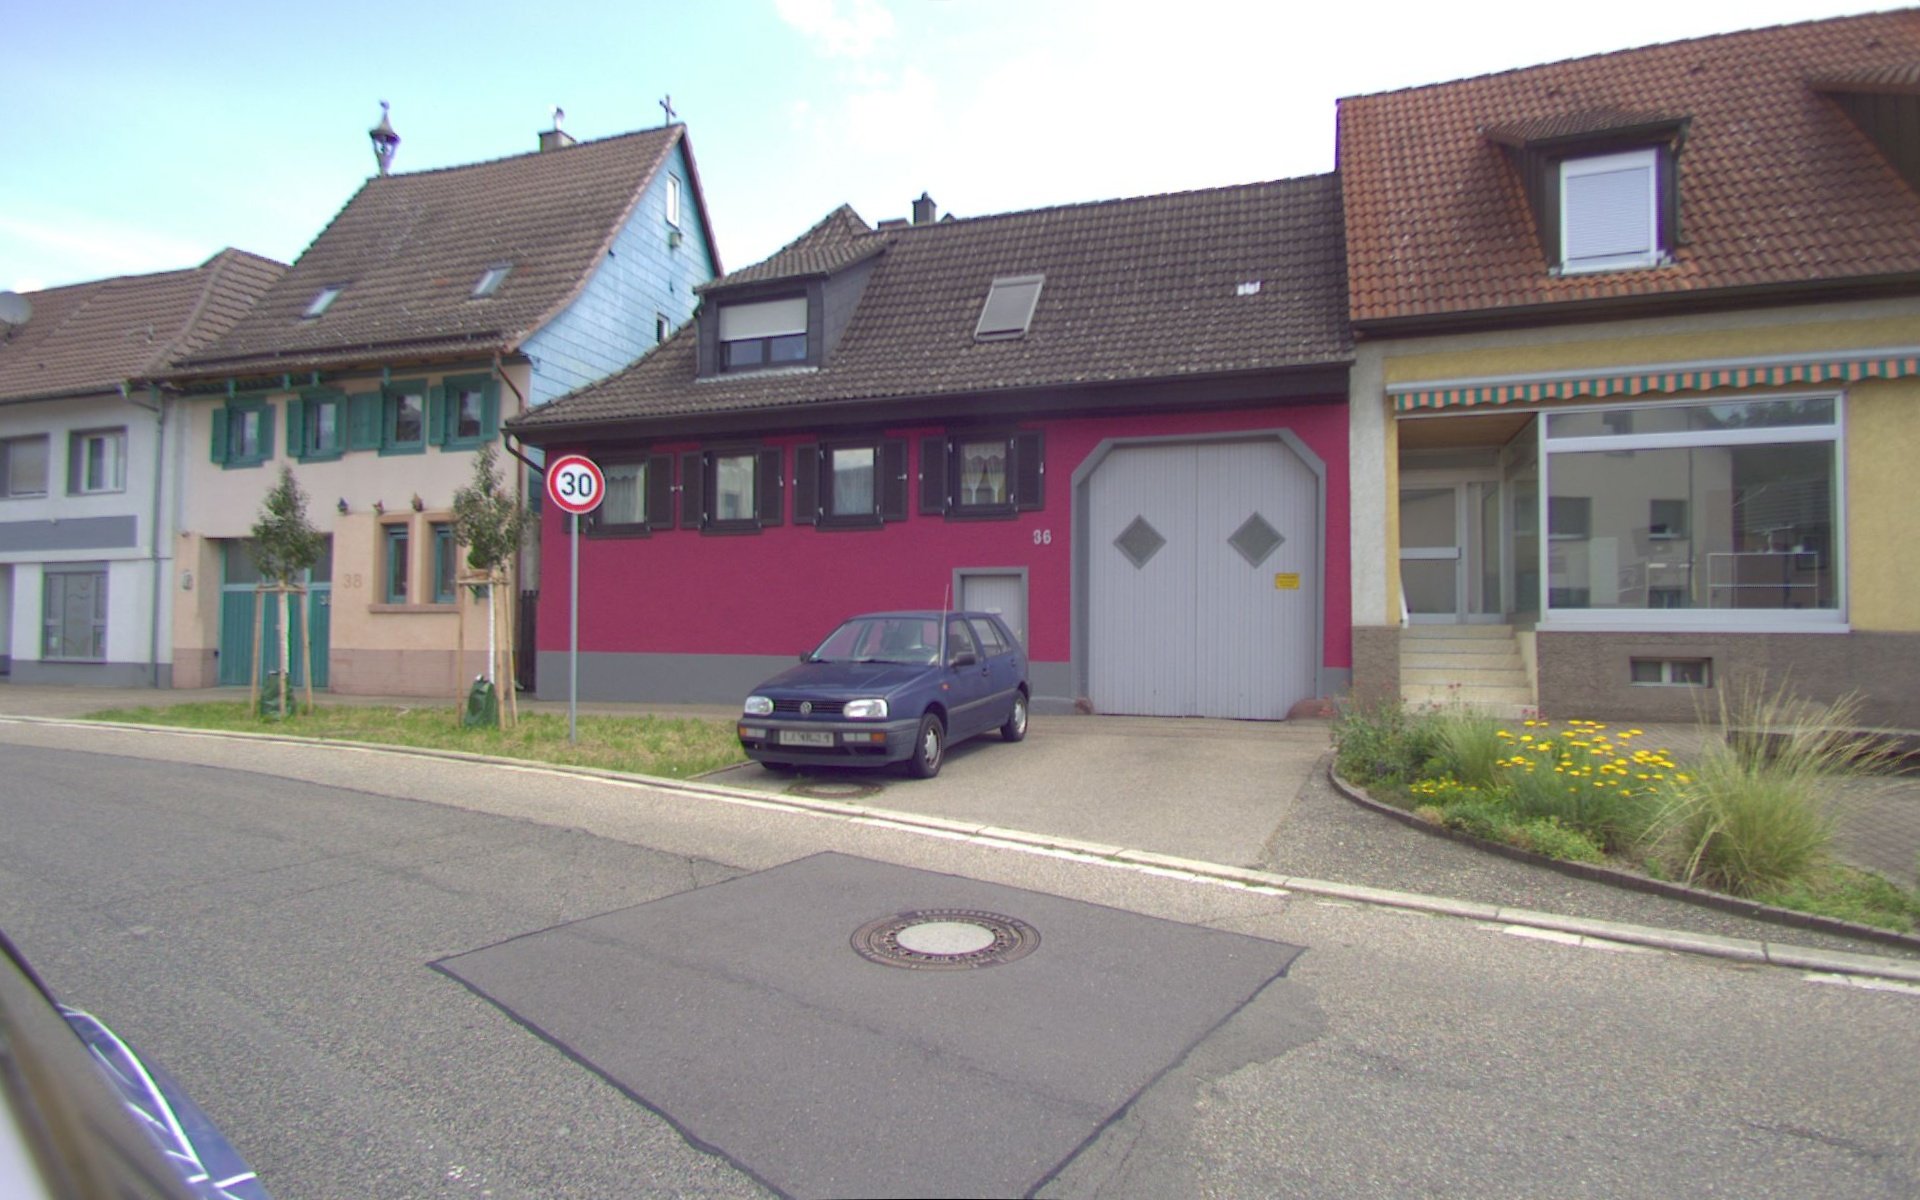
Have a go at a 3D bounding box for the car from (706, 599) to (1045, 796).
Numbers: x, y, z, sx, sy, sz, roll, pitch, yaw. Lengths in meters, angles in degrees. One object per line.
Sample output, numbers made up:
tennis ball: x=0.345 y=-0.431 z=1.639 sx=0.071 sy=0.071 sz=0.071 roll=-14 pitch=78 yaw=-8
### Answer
car: x=-0.561 y=0.753 z=9.764 sx=1.709 sy=1.475 sz=3.951 roll=-1 pitch=-1 yaw=21
